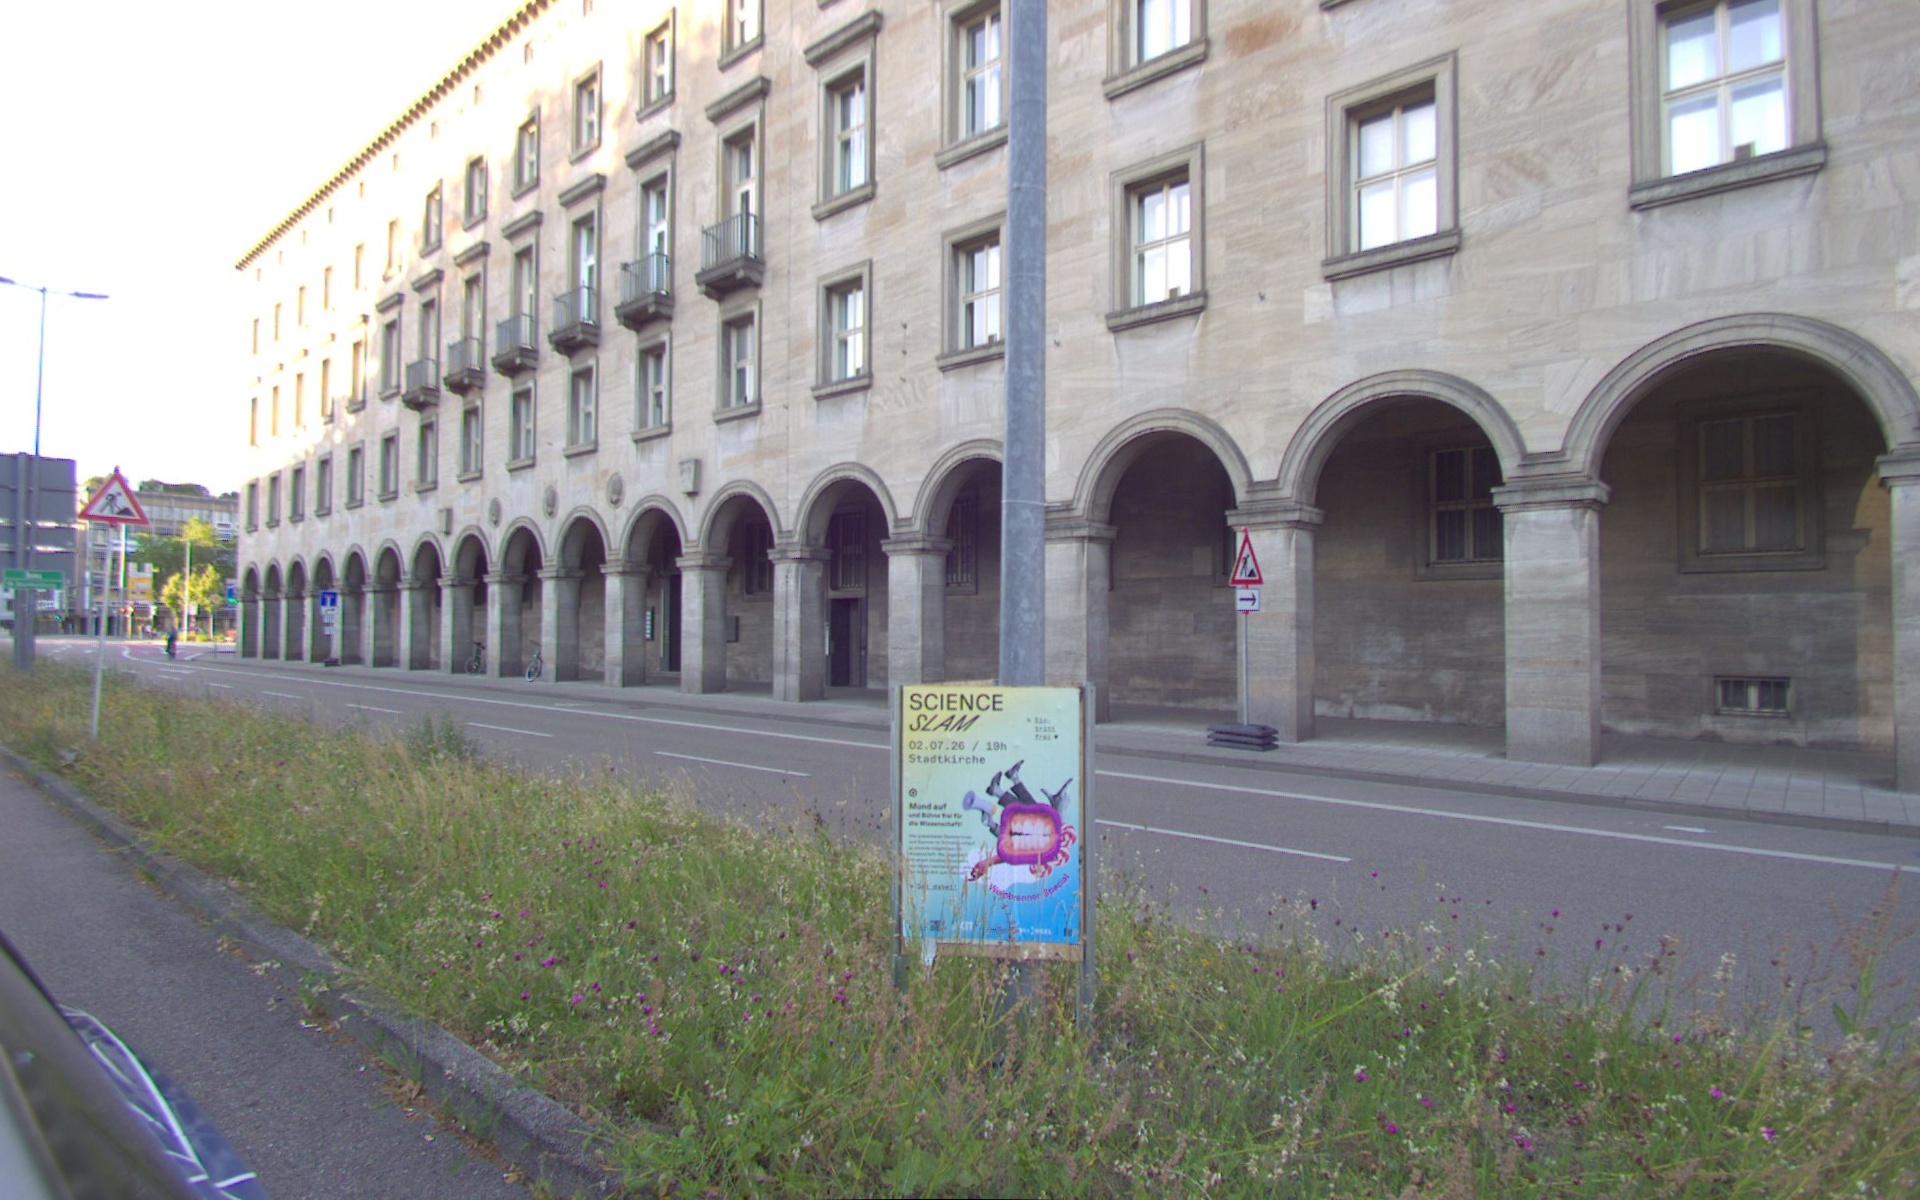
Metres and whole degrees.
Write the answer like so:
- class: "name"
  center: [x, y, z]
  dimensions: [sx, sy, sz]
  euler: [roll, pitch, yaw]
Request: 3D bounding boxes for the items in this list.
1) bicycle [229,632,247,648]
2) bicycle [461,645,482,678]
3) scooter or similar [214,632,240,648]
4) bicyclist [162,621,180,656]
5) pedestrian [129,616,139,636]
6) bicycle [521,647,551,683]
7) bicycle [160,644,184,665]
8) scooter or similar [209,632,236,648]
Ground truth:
- class: "bicycle"
  center: [-62.177, 3.420, 87.103]
  dimensions: [2.507, 1.334, 0.611]
  euler: [-1, -3, 40]
- class: "bicycle"
  center: [-16.178, 2.017, 33.475]
  dimensions: [0.470, 1.013, 2.011]
  euler: [1, -2, -30]
- class: "scooter or similar"
  center: [-64.143, 3.502, 88.559]
  dimensions: [0.422, 1.315, 1.814]
  euler: [-1, -2, 35]
- class: "bicyclist"
  center: [-38.723, 1.886, 49.680]
  dimensions: [0.748, 1.706, 0.531]
  euler: [-1, -3, 40]
- class: "pedestrian"
  center: [-83.684, 2.634, 102.581]
  dimensions: [0.647, 1.948, 0.652]
  euler: [-3, -4, 42]
- class: "bicycle"
  center: [-12.537, 1.910, 29.987]
  dimensions: [0.471, 1.013, 2.010]
  euler: [1, -2, -13]
- class: "bicycle"
  center: [-38.589, 2.645, 49.529]
  dimensions: [2.004, 1.013, 0.536]
  euler: [-2, -3, 41]
- class: "scooter or similar"
  center: [-64.951, 3.516, 89.135]
  dimensions: [0.499, 1.315, 1.842]
  euler: [-1, -2, 35]
